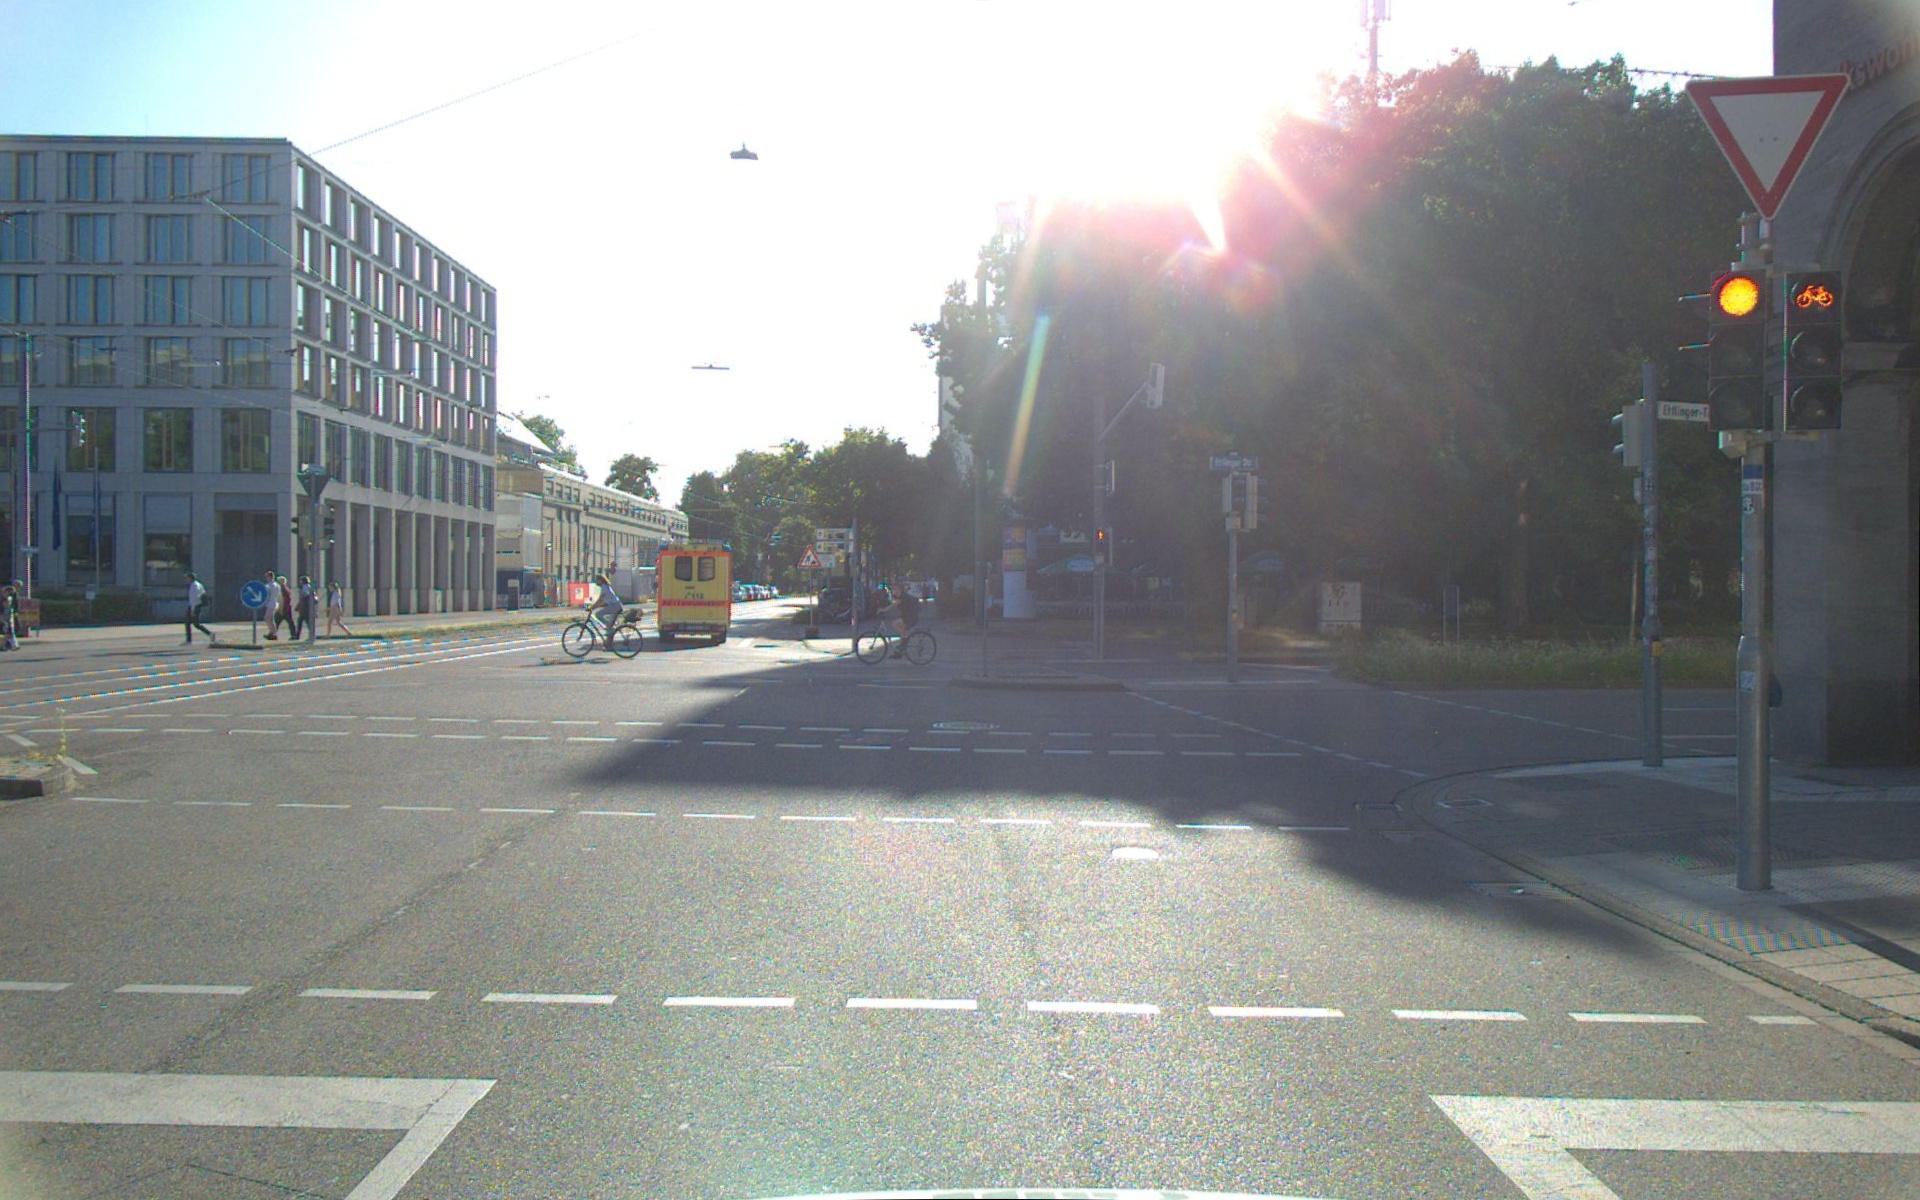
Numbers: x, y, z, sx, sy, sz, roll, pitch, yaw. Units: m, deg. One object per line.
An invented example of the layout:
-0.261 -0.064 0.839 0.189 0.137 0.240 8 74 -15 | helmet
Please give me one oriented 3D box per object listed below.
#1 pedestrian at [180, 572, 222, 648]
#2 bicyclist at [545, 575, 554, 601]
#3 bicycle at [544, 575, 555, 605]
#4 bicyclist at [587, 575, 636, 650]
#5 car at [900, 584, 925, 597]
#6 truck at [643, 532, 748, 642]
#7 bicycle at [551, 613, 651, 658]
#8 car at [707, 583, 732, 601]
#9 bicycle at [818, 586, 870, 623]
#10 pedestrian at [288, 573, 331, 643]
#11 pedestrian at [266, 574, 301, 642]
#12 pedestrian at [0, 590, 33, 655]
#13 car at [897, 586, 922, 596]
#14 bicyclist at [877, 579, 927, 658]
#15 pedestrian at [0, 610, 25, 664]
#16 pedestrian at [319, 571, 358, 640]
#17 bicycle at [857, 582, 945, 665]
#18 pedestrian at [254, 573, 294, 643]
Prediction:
-19.645 0.261 42.814 0.785 1.951 0.637 0 0 4 | pedestrian
-32.161 -0.940 129.581 0.559 2.059 0.761 0 0 -2 | bicyclist
-32.159 -0.797 129.606 0.559 2.336 1.422 0 0 -2 | bicycle
-7.472 0.271 35.460 0.956 1.587 0.574 0 0 -5 | bicyclist
-6.124 -1.278 213.366 3.152 1.616 1.445 1 0 -5 | car
-8.017 -0.373 49.645 2.670 3.068 6.467 0 0 -13 | truck
-7.685 0.754 35.435 2.024 0.949 0.574 0 0 -5 | bicycle
-22.677 -0.733 156.092 1.856 1.635 4.498 0 0 -3 | car
-5.693 0.207 81.254 2.495 1.774 1.037 1 0 -1 | bicycle
-17.204 0.201 43.742 0.852 1.835 0.664 0 0 4 | pedestrian
-18.381 0.227 44.949 0.723 1.835 0.532 0 0 4 | pedestrian
-24.341 0.573 42.455 0.777 1.673 0.620 0 0 -5 | pedestrian
-6.449 -1.124 211.097 3.153 1.285 1.372 1 0 -2 | car
-1.252 0.390 35.601 1.054 1.669 0.596 0 0 -6 | bicyclist
-24.068 0.916 41.384 0.975 1.340 0.765 0 0 -10 | pedestrian
-16.717 0.150 44.494 0.851 1.835 0.532 0 0 4 | pedestrian
-1.280 0.494 35.596 1.860 1.765 0.596 0 0 -6 | bicycle
-18.273 0.208 44.066 0.723 1.835 0.716 0 0 4 | pedestrian
